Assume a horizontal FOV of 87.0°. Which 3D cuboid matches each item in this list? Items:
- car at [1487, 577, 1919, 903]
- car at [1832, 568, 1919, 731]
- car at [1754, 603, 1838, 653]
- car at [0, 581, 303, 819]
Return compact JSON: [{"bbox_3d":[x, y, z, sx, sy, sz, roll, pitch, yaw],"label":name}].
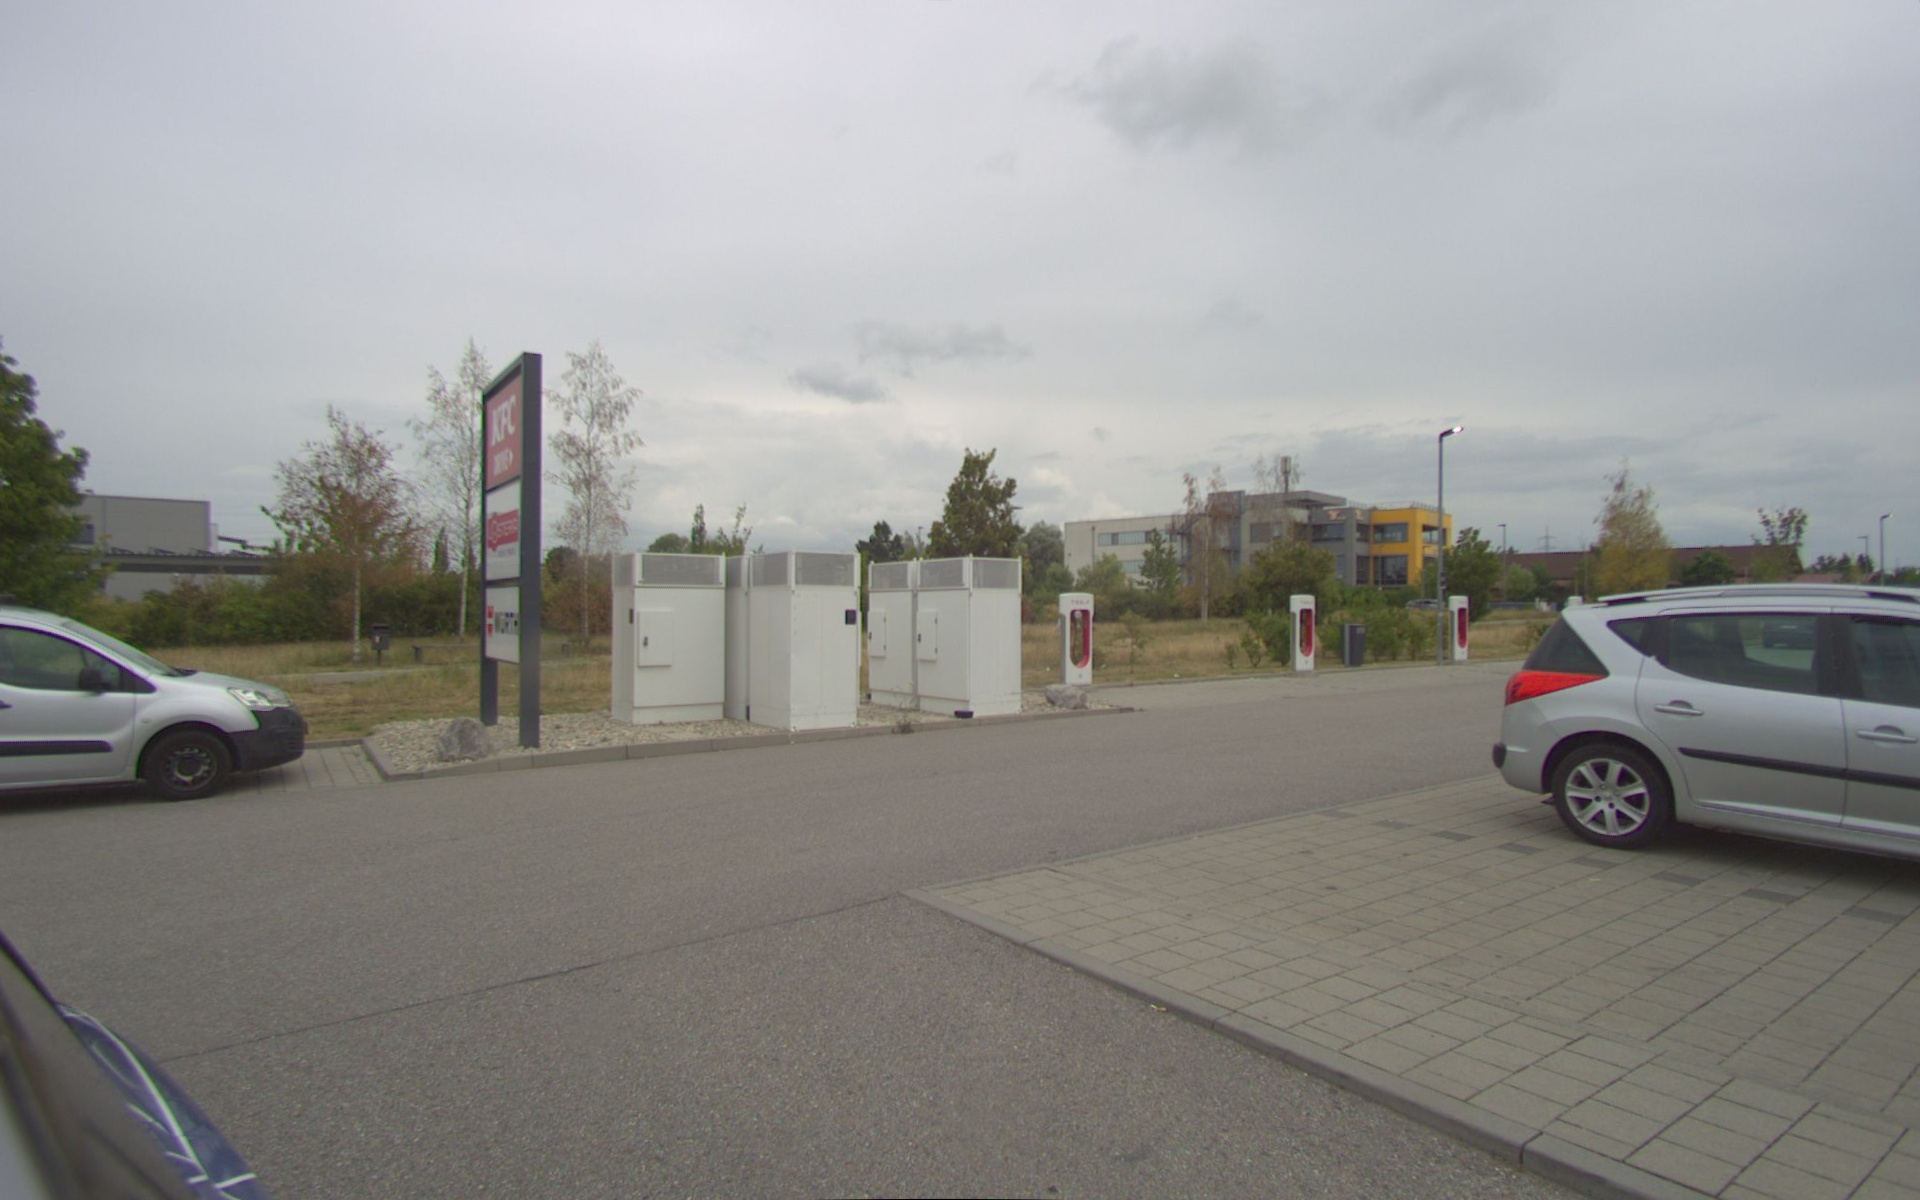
[{"bbox_3d":[5.178,0.656,5.112,1.602,1.516,4.178,1,-2,-37],"label":"car"},{"bbox_3d":[11.200,0.473,9.360,1.559,1.629,4.496,1,-2,-37],"label":"car"},{"bbox_3d":[32.184,1.041,38.939,3.938,1.785,1.838,1,0,-41],"label":"car"},{"bbox_3d":[-8.365,0.833,8.844,4.266,1.902,1.950,1,-3,-37],"label":"car"}]
